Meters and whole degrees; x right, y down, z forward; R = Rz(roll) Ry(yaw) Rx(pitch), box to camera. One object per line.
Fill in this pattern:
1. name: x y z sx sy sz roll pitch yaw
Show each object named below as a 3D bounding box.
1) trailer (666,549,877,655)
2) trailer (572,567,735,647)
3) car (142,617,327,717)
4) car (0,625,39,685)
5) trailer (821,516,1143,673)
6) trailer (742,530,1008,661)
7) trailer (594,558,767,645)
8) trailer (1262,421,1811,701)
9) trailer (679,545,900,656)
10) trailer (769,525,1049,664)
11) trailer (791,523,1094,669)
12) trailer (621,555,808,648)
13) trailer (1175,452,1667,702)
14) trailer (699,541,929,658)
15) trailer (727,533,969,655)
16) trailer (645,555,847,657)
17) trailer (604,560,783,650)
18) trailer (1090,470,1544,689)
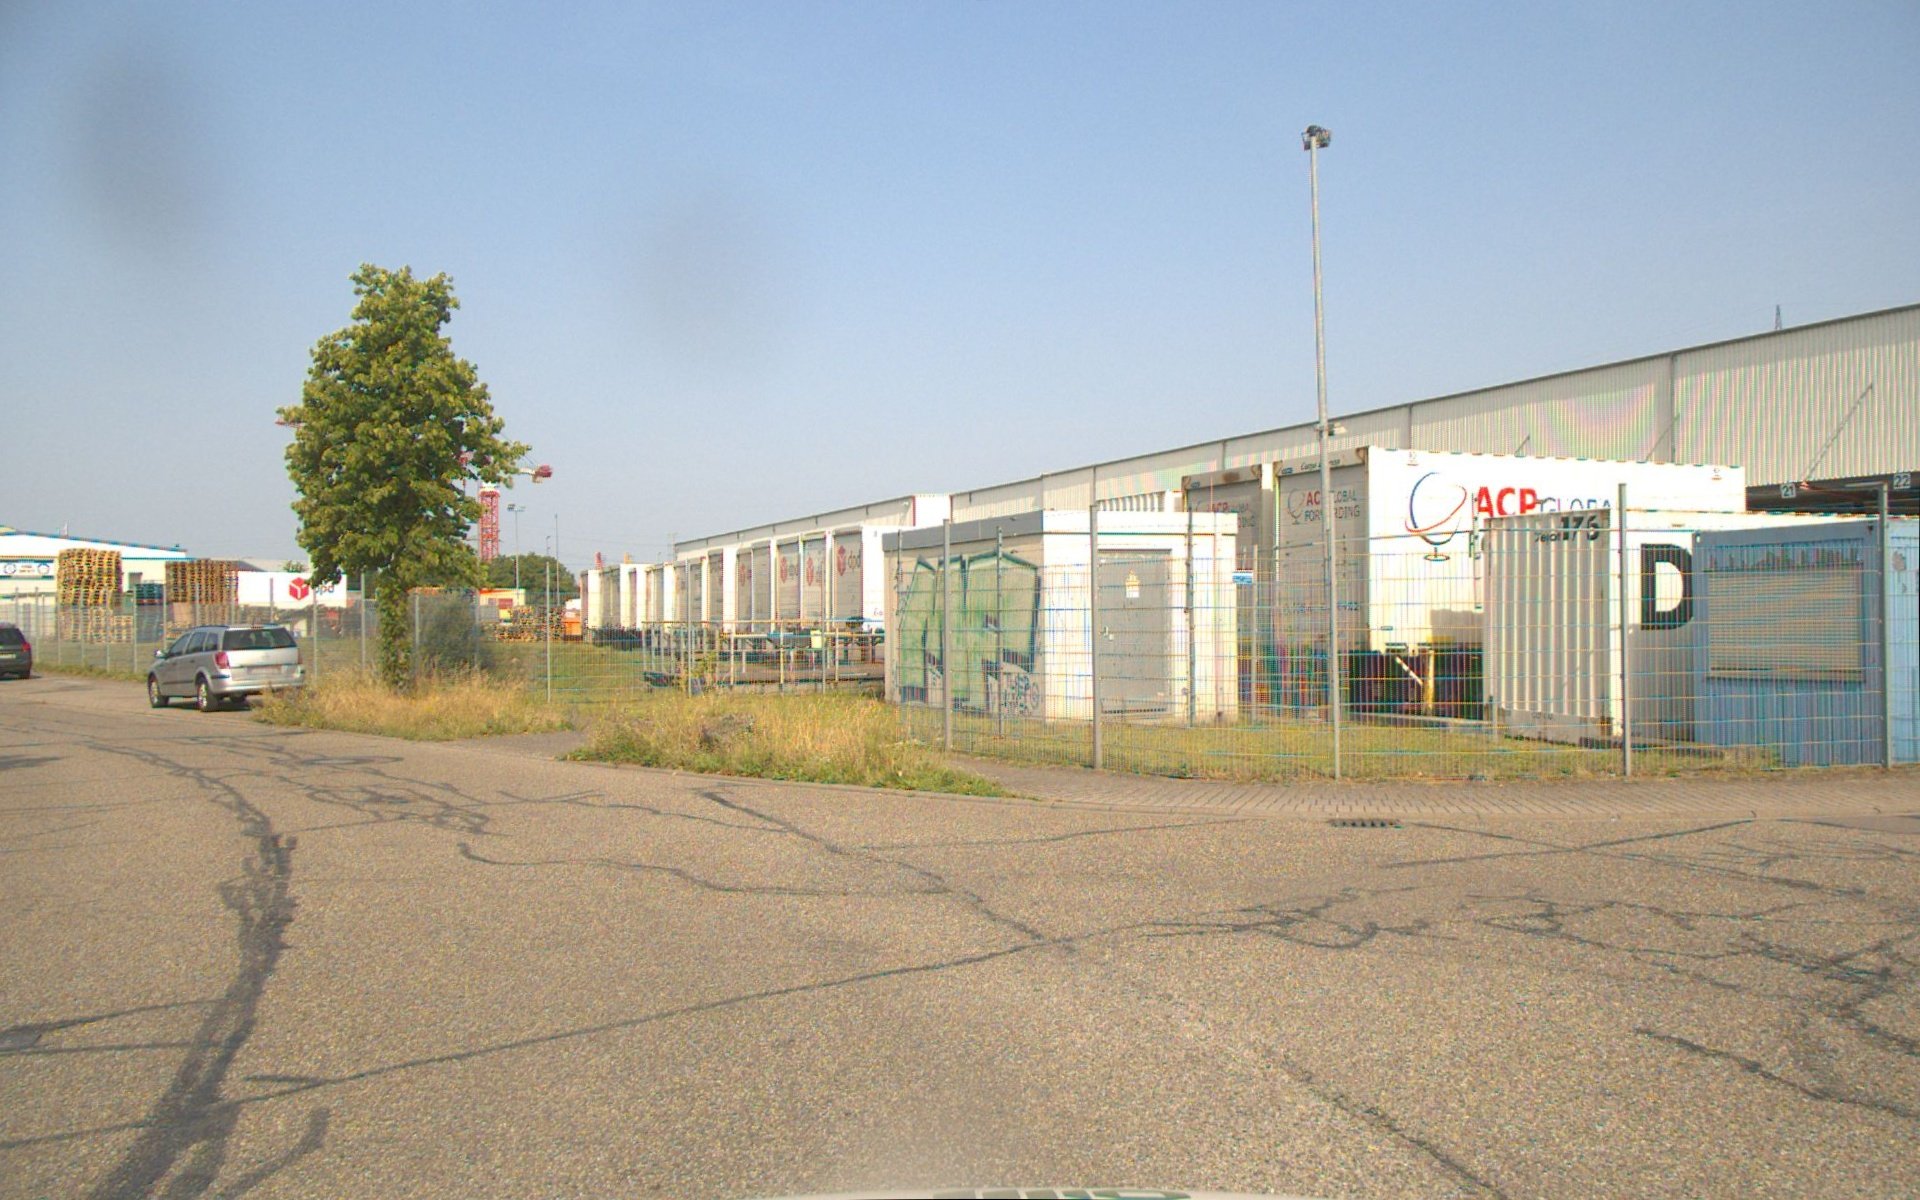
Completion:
1. trailer: -7.480 0.121 65.756 7.858 3.962 2.755 2 -1 -25
2. trailer: -15.915 0.392 86.042 7.858 3.962 2.722 2 -1 -25
3. car: -13.576 1.188 30.825 1.790 1.654 4.379 -3 1 -43
4. car: -26.949 1.512 45.616 1.708 1.541 3.938 -3 1 -44
5. trailer: 0.657 -0.069 45.365 8.424 3.962 2.755 2 -1 -25
6. trailer: -2.722 -0.077 53.850 8.199 3.962 2.755 2 -1 -25
7. trailer: -13.580 0.112 80.550 7.858 3.962 2.755 2 -1 -25
8. trailer: 9.176 -0.519 26.220 8.416 3.962 2.757 0 -3 -22
9. trailer: -6.466 0.084 63.007 7.858 3.962 2.755 2 -1 -25
10. trailer: -1.543 -0.096 51.046 8.199 3.962 2.755 2 -1 -25
11. trailer: -0.466 -0.044 48.262 8.424 3.962 2.755 2 -1 -25
12. trailer: -11.087 0.110 74.848 7.858 3.962 2.755 2 -1 -25
13. trailer: 8.178 -0.448 29.146 8.419 3.962 2.756 -1 0 -23
14. trailer: -5.298 0.029 60.247 7.858 3.962 2.755 2 -1 -25
15. trailer: -3.886 -0.149 57.637 7.928 3.962 2.755 2 -1 -25
16. trailer: -8.863 0.286 68.728 7.858 3.962 2.755 2 -1 -25
17. trailer: -12.513 0.263 77.812 7.858 3.962 2.755 2 -1 -25
18. trailer: 6.939 -0.329 31.889 8.617 3.827 2.770 0 -1 -24
